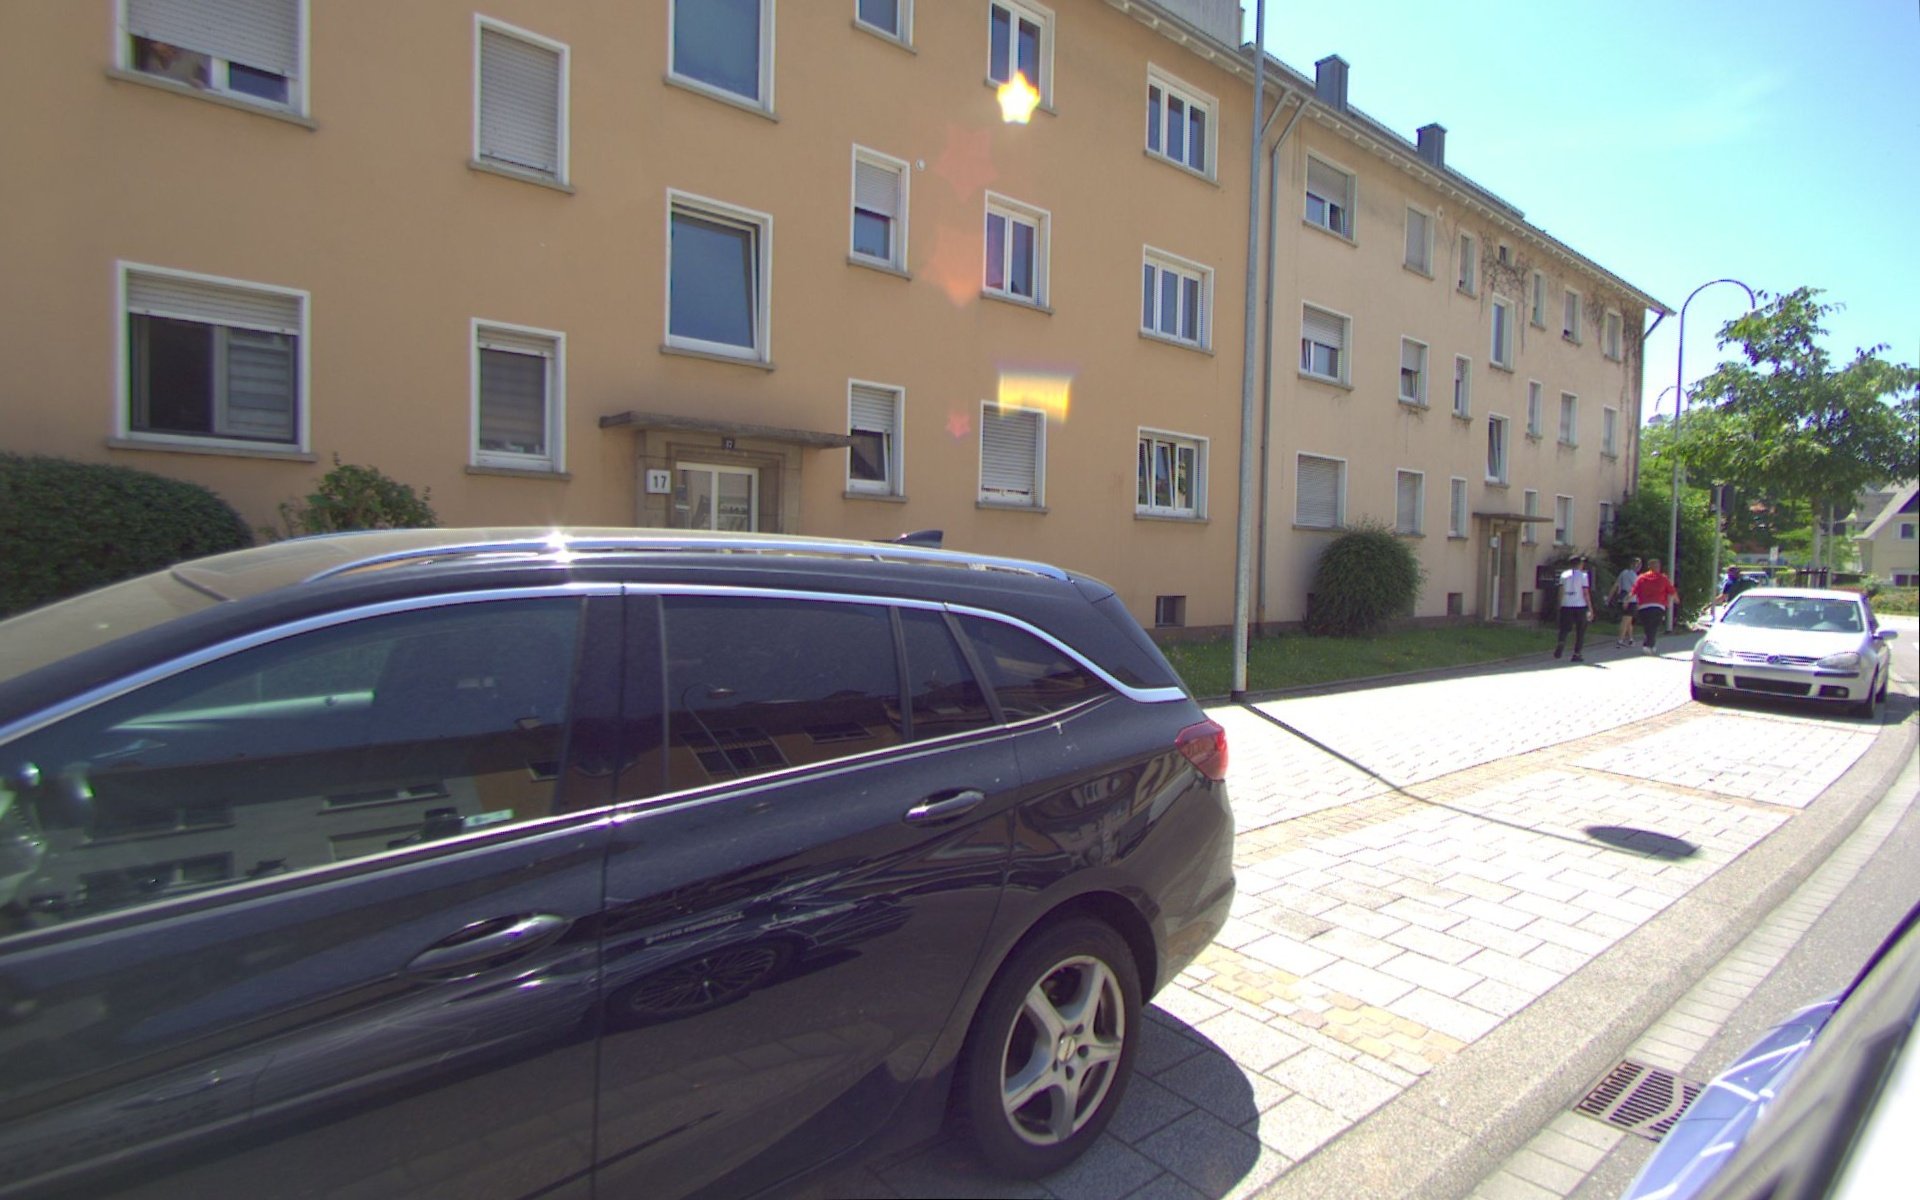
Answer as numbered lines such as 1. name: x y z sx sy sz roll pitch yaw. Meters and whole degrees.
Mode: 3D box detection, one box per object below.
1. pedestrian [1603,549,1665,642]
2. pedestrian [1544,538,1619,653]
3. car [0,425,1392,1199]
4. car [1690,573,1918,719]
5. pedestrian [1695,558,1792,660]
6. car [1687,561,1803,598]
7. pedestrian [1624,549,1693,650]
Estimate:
1. pedestrian: 13.587 -0.104 20.389 0.992 1.800 0.794 0 2 -44
2. pedestrian: 10.603 -0.095 17.256 0.968 1.876 0.821 0 2 -44
3. car: -1.154 0.500 2.244 4.975 1.522 1.838 0 4 -41
4. car: 11.097 0.436 13.186 4.434 1.494 1.815 -2 5 -45
5. pedestrian: 14.566 0.128 18.809 1.172 1.753 1.172 -1 6 -45
6. car: 40.603 -1.071 52.431 4.476 1.758 2.003 1 2 -4
7. pedestrian: 13.325 -0.026 19.311 0.989 1.833 0.789 0 4 -44
